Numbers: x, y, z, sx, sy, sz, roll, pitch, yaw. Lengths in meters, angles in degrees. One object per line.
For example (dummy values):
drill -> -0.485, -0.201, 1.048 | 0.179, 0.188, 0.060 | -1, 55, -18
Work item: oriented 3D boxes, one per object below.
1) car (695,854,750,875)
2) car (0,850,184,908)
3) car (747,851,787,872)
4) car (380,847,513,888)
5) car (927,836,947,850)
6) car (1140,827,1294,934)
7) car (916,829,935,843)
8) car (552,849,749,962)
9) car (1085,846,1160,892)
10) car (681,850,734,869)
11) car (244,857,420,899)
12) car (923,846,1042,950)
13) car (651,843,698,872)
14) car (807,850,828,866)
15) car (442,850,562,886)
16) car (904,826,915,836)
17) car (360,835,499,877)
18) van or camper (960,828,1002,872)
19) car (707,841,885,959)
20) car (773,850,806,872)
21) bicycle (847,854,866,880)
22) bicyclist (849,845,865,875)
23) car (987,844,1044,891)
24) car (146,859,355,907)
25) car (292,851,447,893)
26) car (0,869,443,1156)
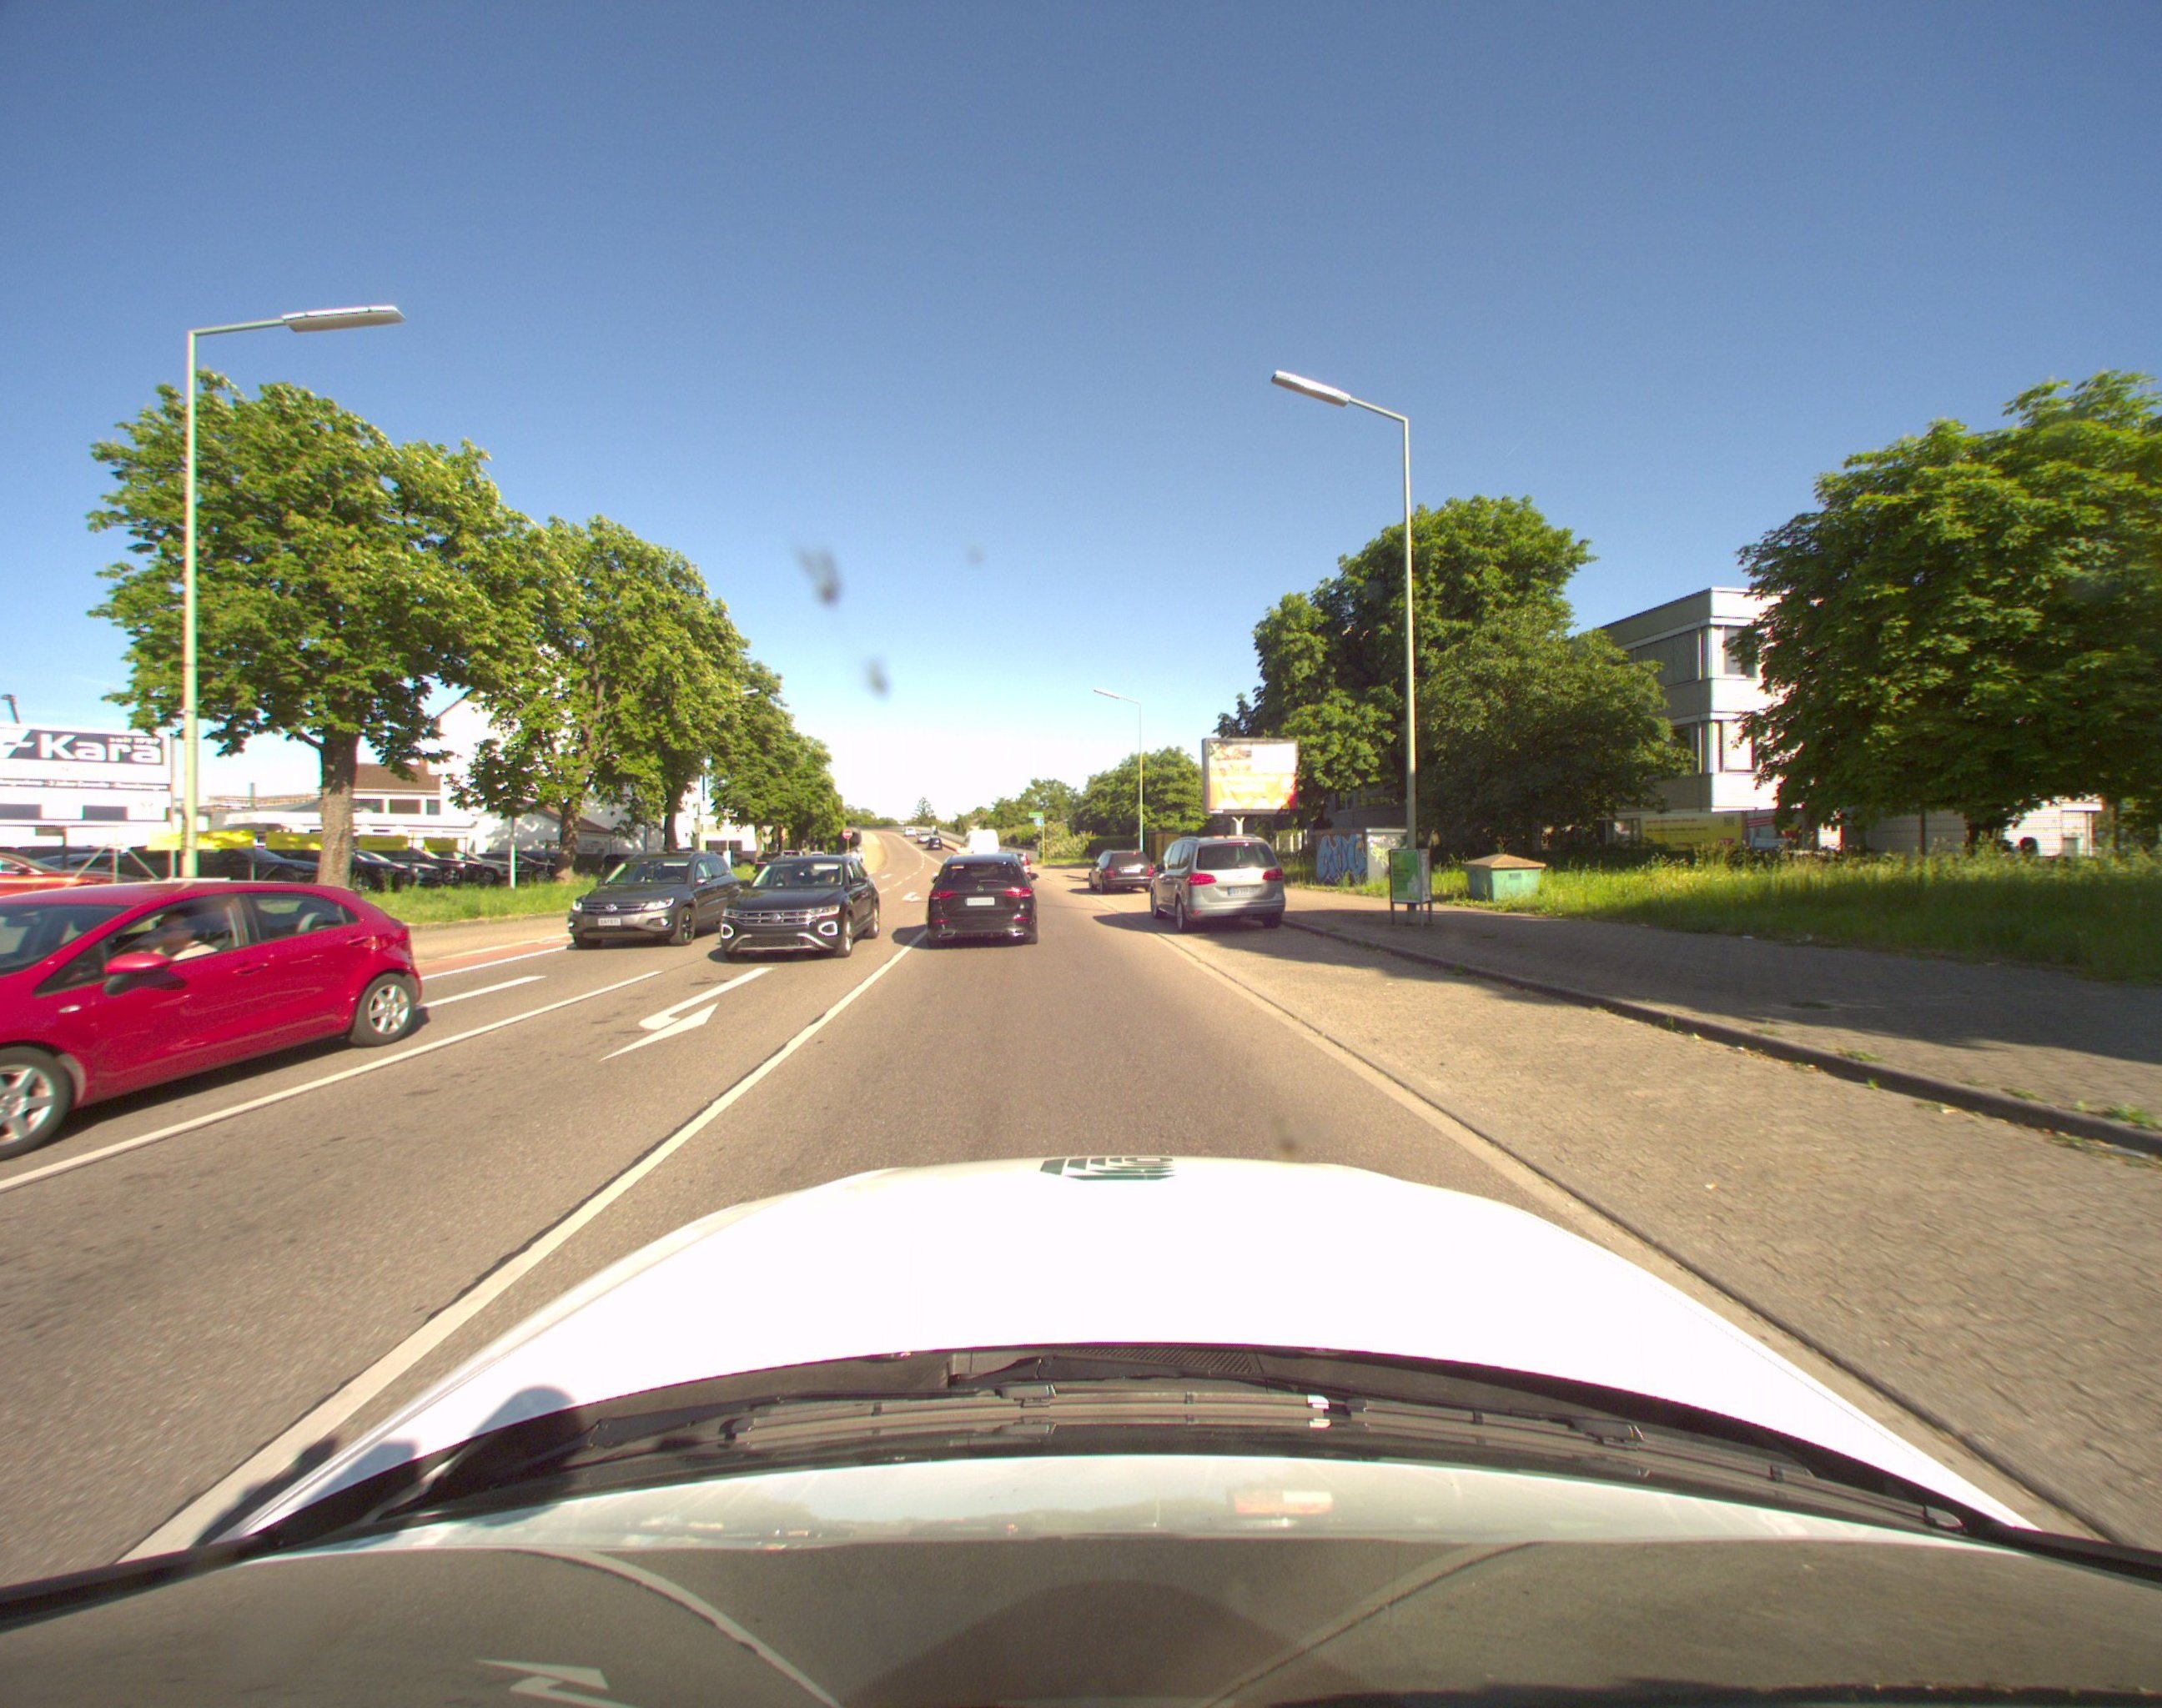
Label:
car -> -31.150, 0.854, 70.719 | 4.017, 1.597, 1.979 | -3, 2, -35
car -> -25.859, 0.586, 19.882 | 5.088, 1.310, 2.333 | -1, 1, -42
car -> -23.032, 0.523, 59.953 | 2.040, 1.464, 4.939 | -1, 1, -13
car -> -26.679, 0.523, 34.392 | 4.002, 1.610, 1.909 | -1, 1, -22
car -> -16.851, -1.232, 95.430 | 1.916, 1.488, 4.260 | -2, 0, -7
car -> 2.485, 0.432, 16.131 | 1.870, 1.722, 4.604 | -3, 0, -5
car -> -20.902, -2.415, 109.667 | 1.989, 1.680, 3.996 | -2, 0, -3
car -> -7.837, 0.820, 15.346 | 1.851, 1.735, 4.260 | -1, 1, -7
car -> 1.349, 0.448, 28.210 | 1.807, 1.419, 4.412 | -1, 1, -8
car -> -31.117, 0.460, 67.941 | 3.689, 1.510, 1.764 | -1, 1, -40
car -> -24.938, 0.757, 27.330 | 3.943, 1.240, 2.025 | -1, 1, -29
car -> -1.610, 0.664, 14.550 | 1.765, 1.592, 3.986 | 0, 0, -2
car -> -28.554, 0.239, 57.326 | 1.749, 1.930, 5.081 | -1, 0, -12
car -> -33.094, 0.480, 102.249 | 1.924, 1.991, 4.242 | 0, 1, -11
car -> -27.219, 0.622, 38.477 | 4.422, 1.575, 1.797 | -1, 1, -30
car -> -28.513, -3.815, 135.476 | 1.878, 1.543, 3.984 | 0, 1, -12
car -> -25.825, 0.047, 32.479 | 4.010, 1.560, 1.982 | -1, 1, -29
van or camper -> -6.819, -0.305, 54.765 | 2.228, 2.739, 7.051 | 0, 1, -12
car -> -4.437, 0.631, 13.333 | 1.911, 1.599, 3.990 | -1, 0, -7
car -> -24.253, 0.539, 67.914 | 2.040, 1.728, 5.212 | 0, 0, -14
bicycle -> -11.482, 0.641, 41.755 | 0.794, 1.225, 3.198 | -1, 0, -13
bicyclist -> -11.521, 0.305, 41.910 | 0.773, 1.484, 0.822 | 0, 1, -14
car -> -2.392, 0.472, 30.701 | 1.799, 1.640, 4.000 | -1, 0, 0
car -> -24.722, 0.807, 24.476 | 3.943, 1.240, 2.025 | -1, 1, -29
car -> -25.893, 0.609, 29.827 | 3.888, 1.412, 1.930 | -1, 1, -27
car -> -6.606, 0.874, 5.449 | 1.781, 1.414, 3.884 | -1, 0, -4
